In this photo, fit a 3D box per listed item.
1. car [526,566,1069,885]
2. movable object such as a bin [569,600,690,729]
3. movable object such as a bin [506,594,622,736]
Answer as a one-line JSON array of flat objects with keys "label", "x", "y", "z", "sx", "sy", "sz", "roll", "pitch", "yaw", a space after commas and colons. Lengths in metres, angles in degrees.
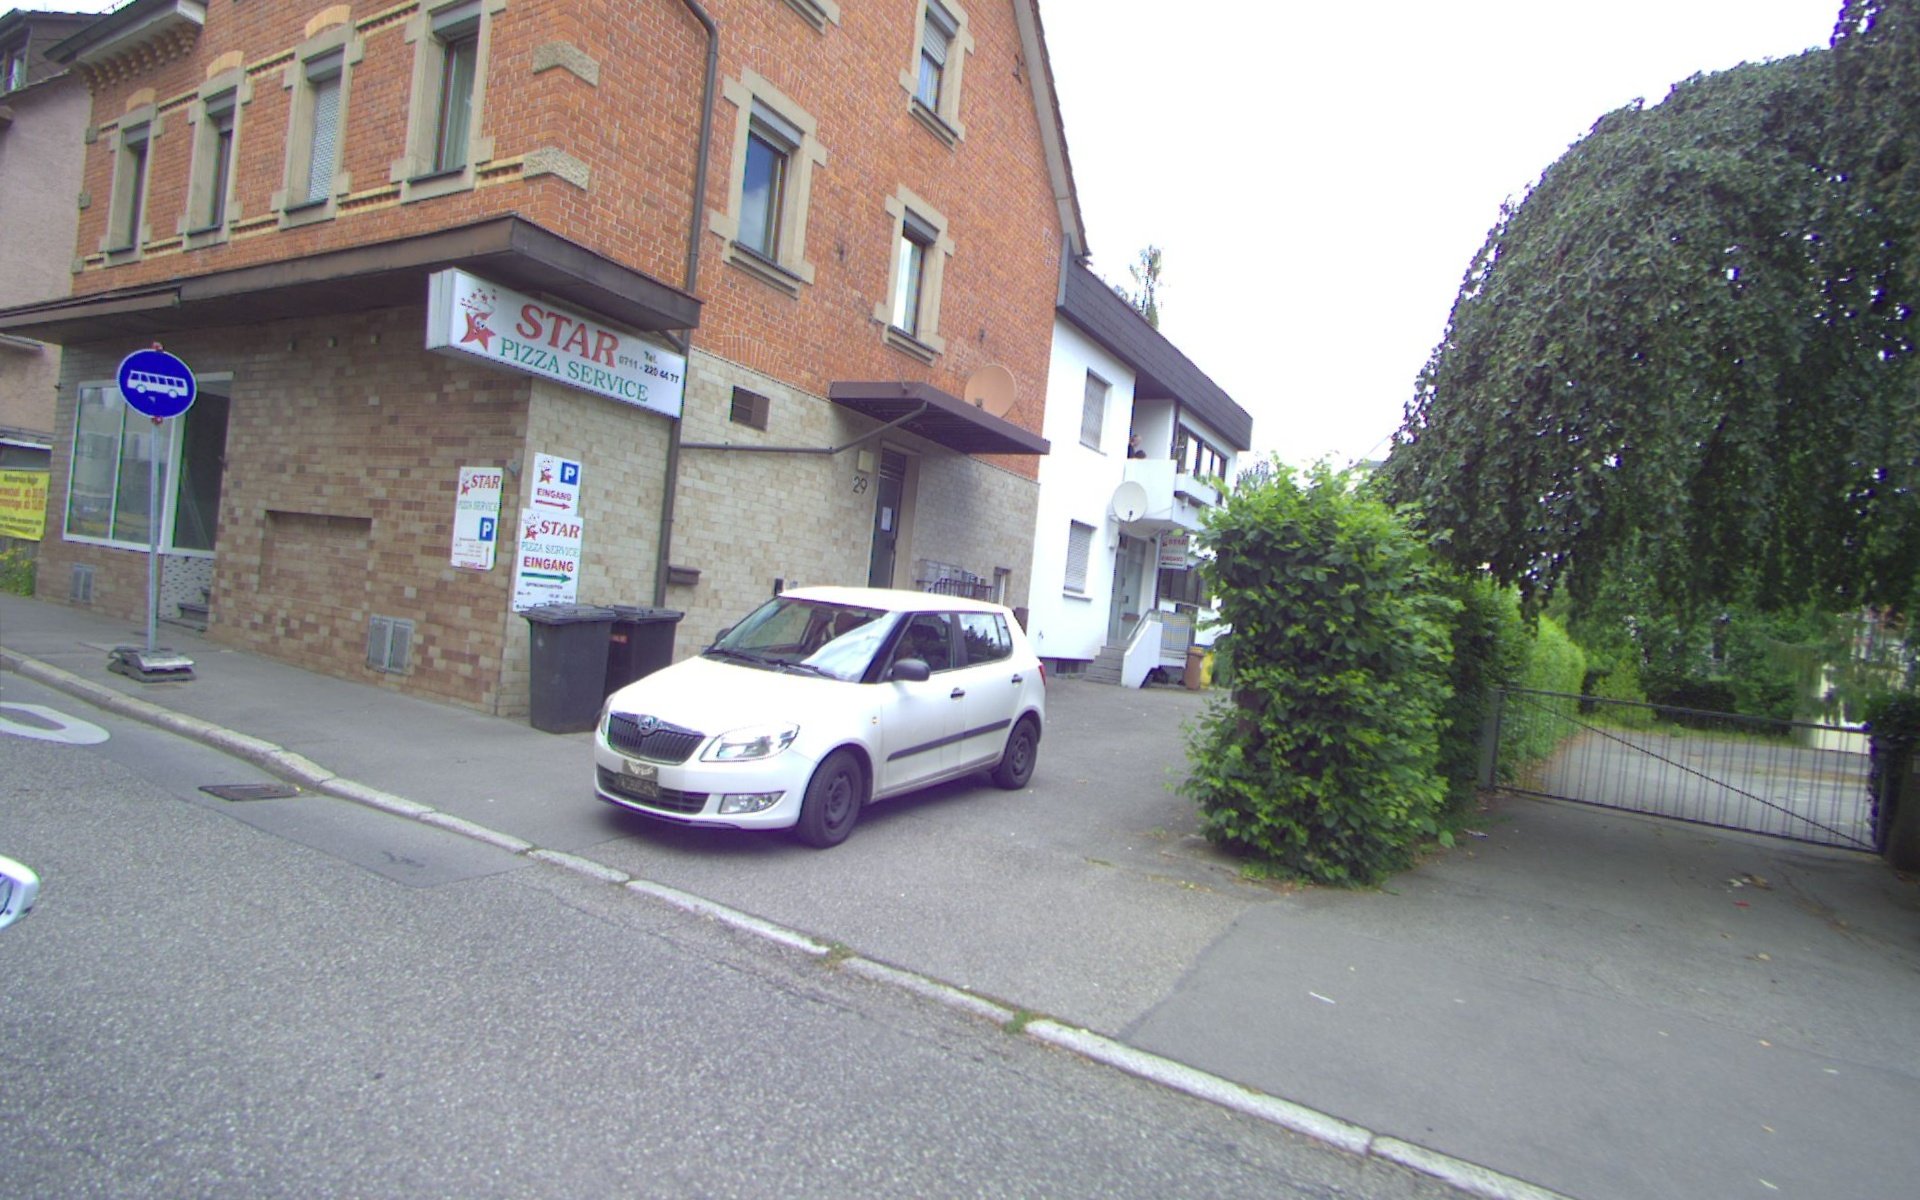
[{"label": "car", "x": -0.797, "y": 0.624, "z": 7.138, "sx": 1.574, "sy": 1.490, "sz": 4.029, "roll": 6, "pitch": 3, "yaw": 29}, {"label": "movable object such as a bin", "x": -3.037, "y": 0.582, "z": 9.264, "sx": 0.711, "sy": 1.073, "sz": 0.699, "roll": 6, "pitch": 1, "yaw": 31}, {"label": "movable object such as a bin", "x": -3.389, "y": 0.546, "z": 8.615, "sx": 0.612, "sy": 1.115, "sz": 0.606, "roll": 6, "pitch": 2, "yaw": 31}]
